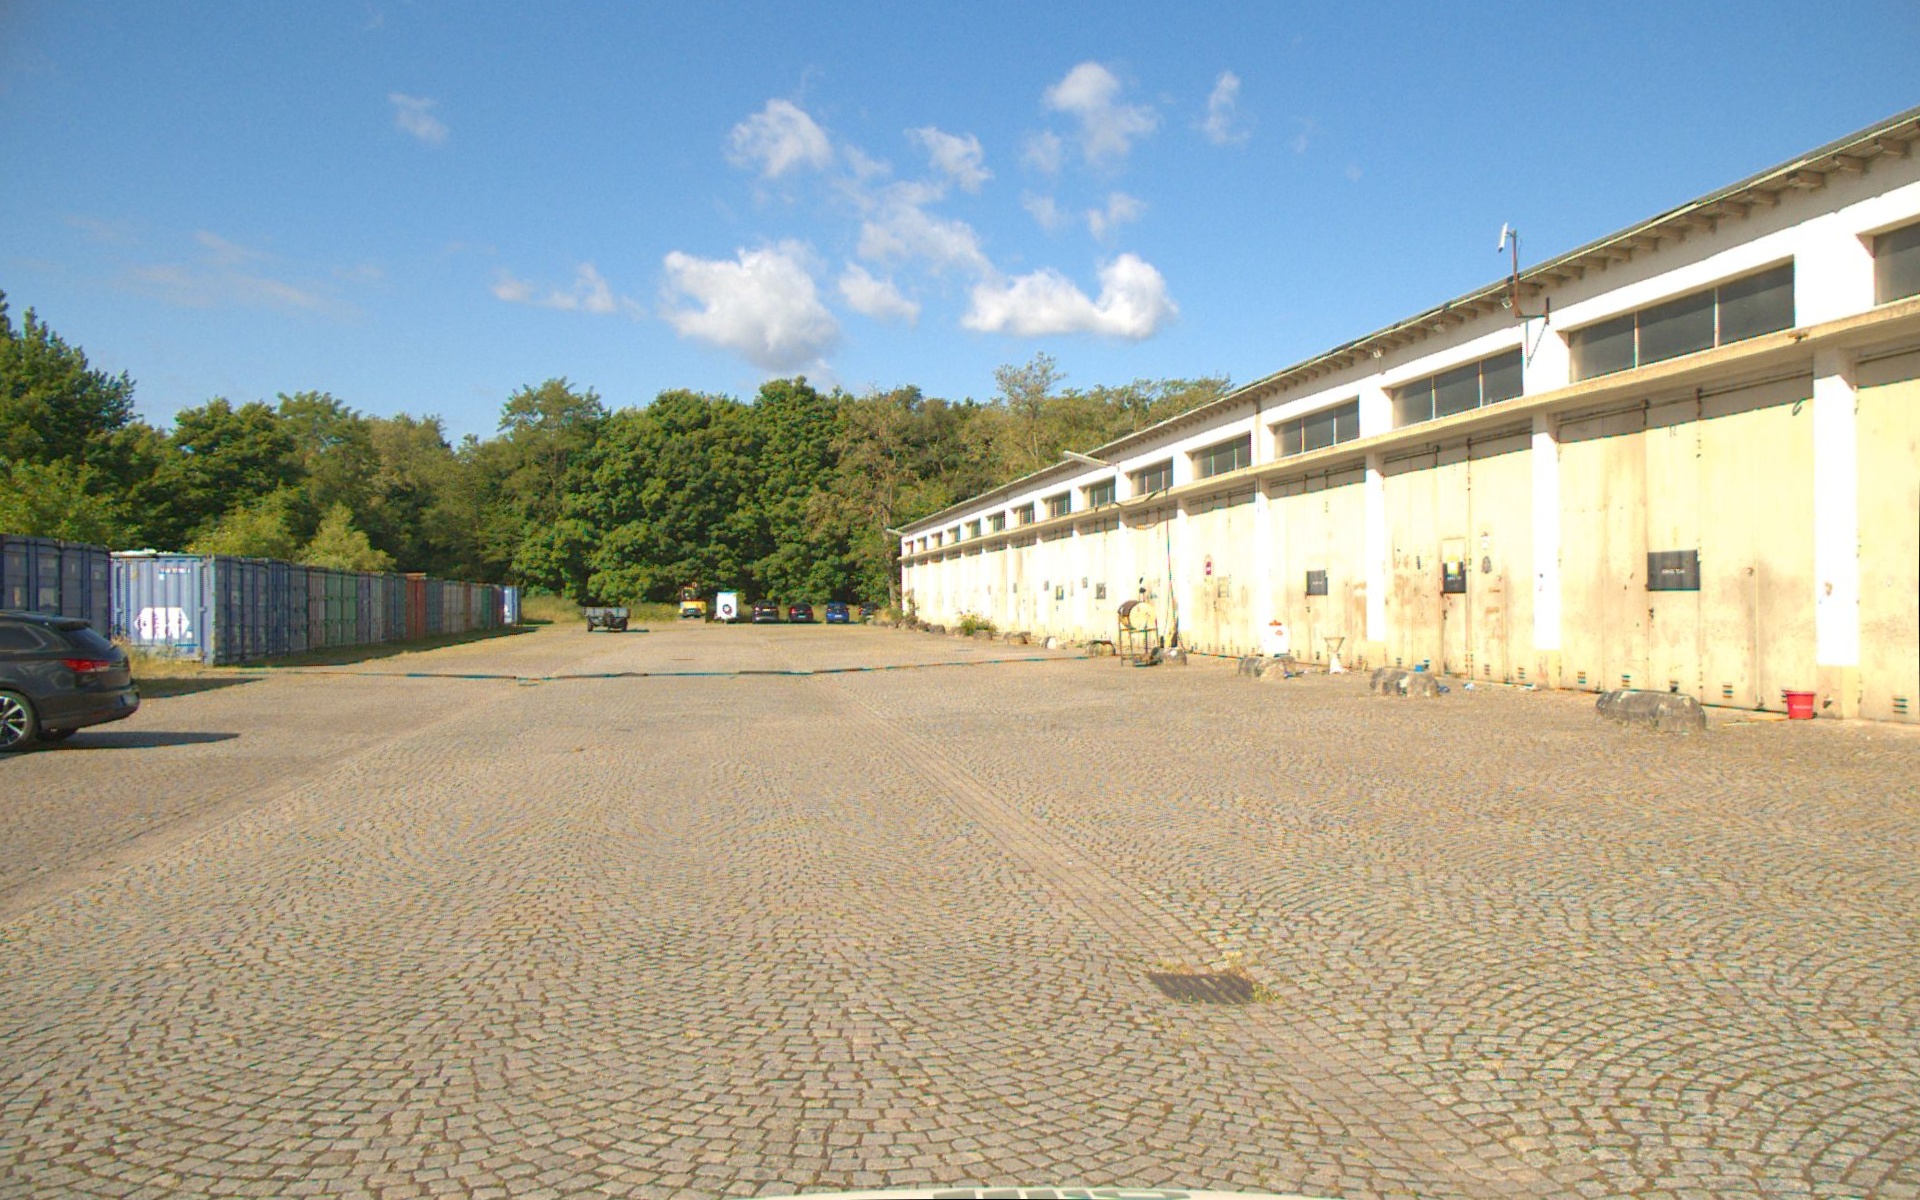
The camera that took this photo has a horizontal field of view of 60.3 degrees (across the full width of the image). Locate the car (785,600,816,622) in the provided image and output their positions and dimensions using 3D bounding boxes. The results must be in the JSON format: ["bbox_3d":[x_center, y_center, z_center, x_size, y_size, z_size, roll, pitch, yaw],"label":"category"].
[{"bbox_3d":[-11.247,0.770,116.428,1.957,1.449,3.992,-1,0,-9],"label":"car"}]

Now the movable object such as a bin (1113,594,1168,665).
[{"bbox_3d":[3.742,0.602,34.383,0.859,1.426,1.099,-1,0,-10],"label":"movable object such as a bin"}]

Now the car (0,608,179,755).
[{"bbox_3d":[-10.926,0.826,17.611,4.337,1.490,1.994,1,0,-13],"label":"car"}]

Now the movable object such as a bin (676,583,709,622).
[{"bbox_3d":[-18.923,0.178,116.830,2.192,2.703,3.989,-1,0,-11],"label":"movable object such as a bin"}]

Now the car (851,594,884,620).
[{"bbox_3d":[-6.631,0.521,118.420,1.957,1.803,3.992,-1,0,-9],"label":"car"}]

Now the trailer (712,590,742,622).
[{"bbox_3d":[-16.419,0.406,116.466,1.957,2.200,4.422,-1,0,-9],"label":"trailer"}]

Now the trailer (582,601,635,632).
[{"bbox_3d":[-20.593,0.946,97.035,2.740,1.675,5.608,-1,0,-10],"label":"trailer"}]

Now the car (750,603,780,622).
[{"bbox_3d":[-13.641,0.840,115.664,1.957,1.280,3.992,-1,0,-9],"label":"car"}]

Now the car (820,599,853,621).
[{"bbox_3d":[-8.734,0.684,116.822,1.957,1.491,3.992,-1,0,-9],"label":"car"}]
